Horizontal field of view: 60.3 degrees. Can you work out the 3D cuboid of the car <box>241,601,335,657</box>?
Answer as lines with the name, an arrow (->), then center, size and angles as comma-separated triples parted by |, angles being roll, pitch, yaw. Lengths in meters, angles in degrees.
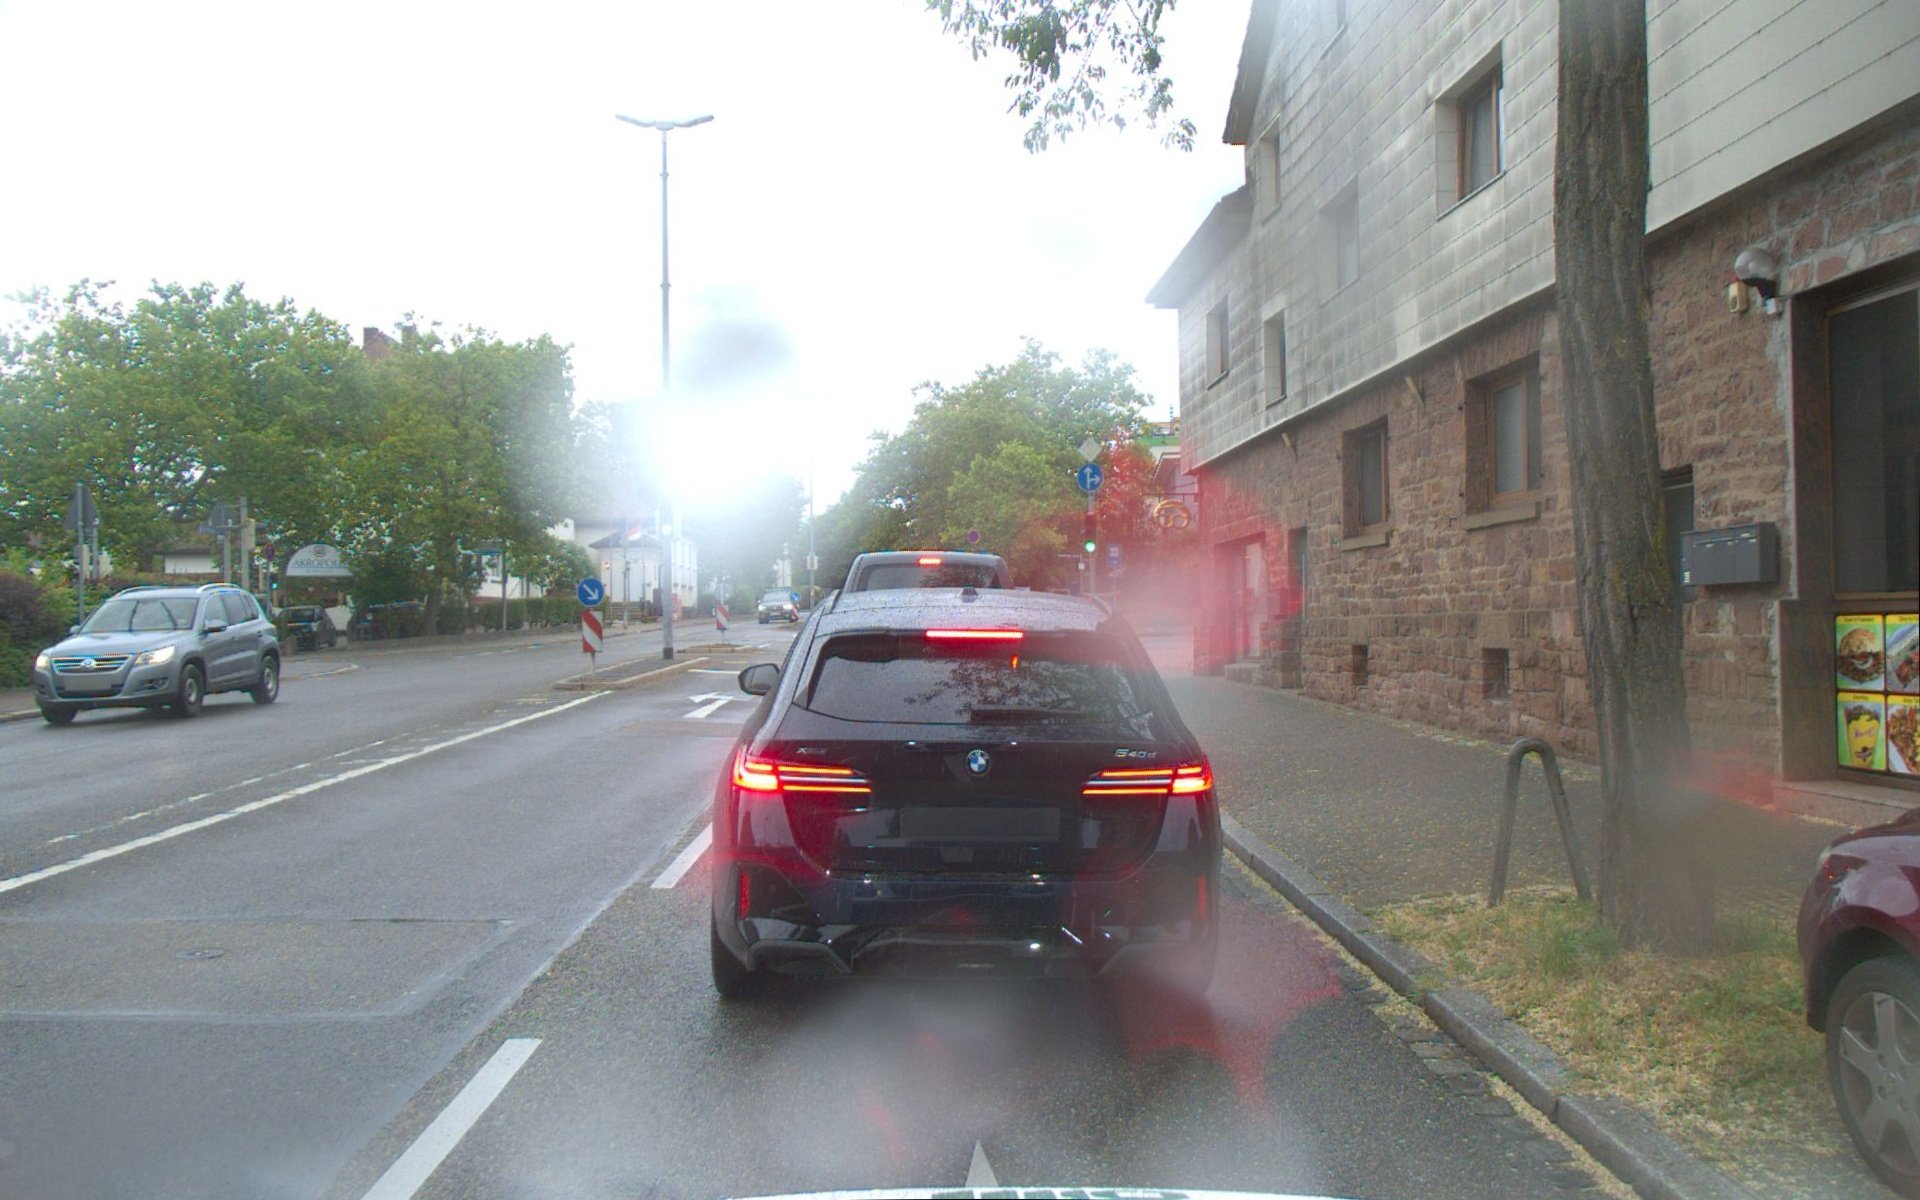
car -> -23.145, 0.968, 57.126 | 1.772, 1.578, 4.000 | 1, 4, -3

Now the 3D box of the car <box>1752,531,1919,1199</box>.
car -> 3.065, 0.583, 2.687 | 1.578, 1.530, 3.753 | 1, -2, -4

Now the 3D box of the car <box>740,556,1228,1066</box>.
car -> -0.027, 0.666, 6.884 | 1.494, 1.561, 3.529 | 1, 0, -4

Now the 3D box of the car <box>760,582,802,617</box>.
car -> -8.869, -0.047, 82.100 | 1.861, 1.604, 4.499 | -1, 1, -4

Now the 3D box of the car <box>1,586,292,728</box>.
car -> -10.482, 0.666, 21.718 | 1.870, 1.618, 4.314 | -2, 0, -4

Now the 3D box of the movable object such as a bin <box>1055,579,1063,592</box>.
movable object such as a bin -> 6.885, -0.999, 115.389 | 0.440, 0.921, 0.463 | 1, -1, 14

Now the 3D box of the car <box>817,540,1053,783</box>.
car -> -0.305, 0.482, 14.536 | 1.776, 1.840, 3.753 | 1, 0, -4
